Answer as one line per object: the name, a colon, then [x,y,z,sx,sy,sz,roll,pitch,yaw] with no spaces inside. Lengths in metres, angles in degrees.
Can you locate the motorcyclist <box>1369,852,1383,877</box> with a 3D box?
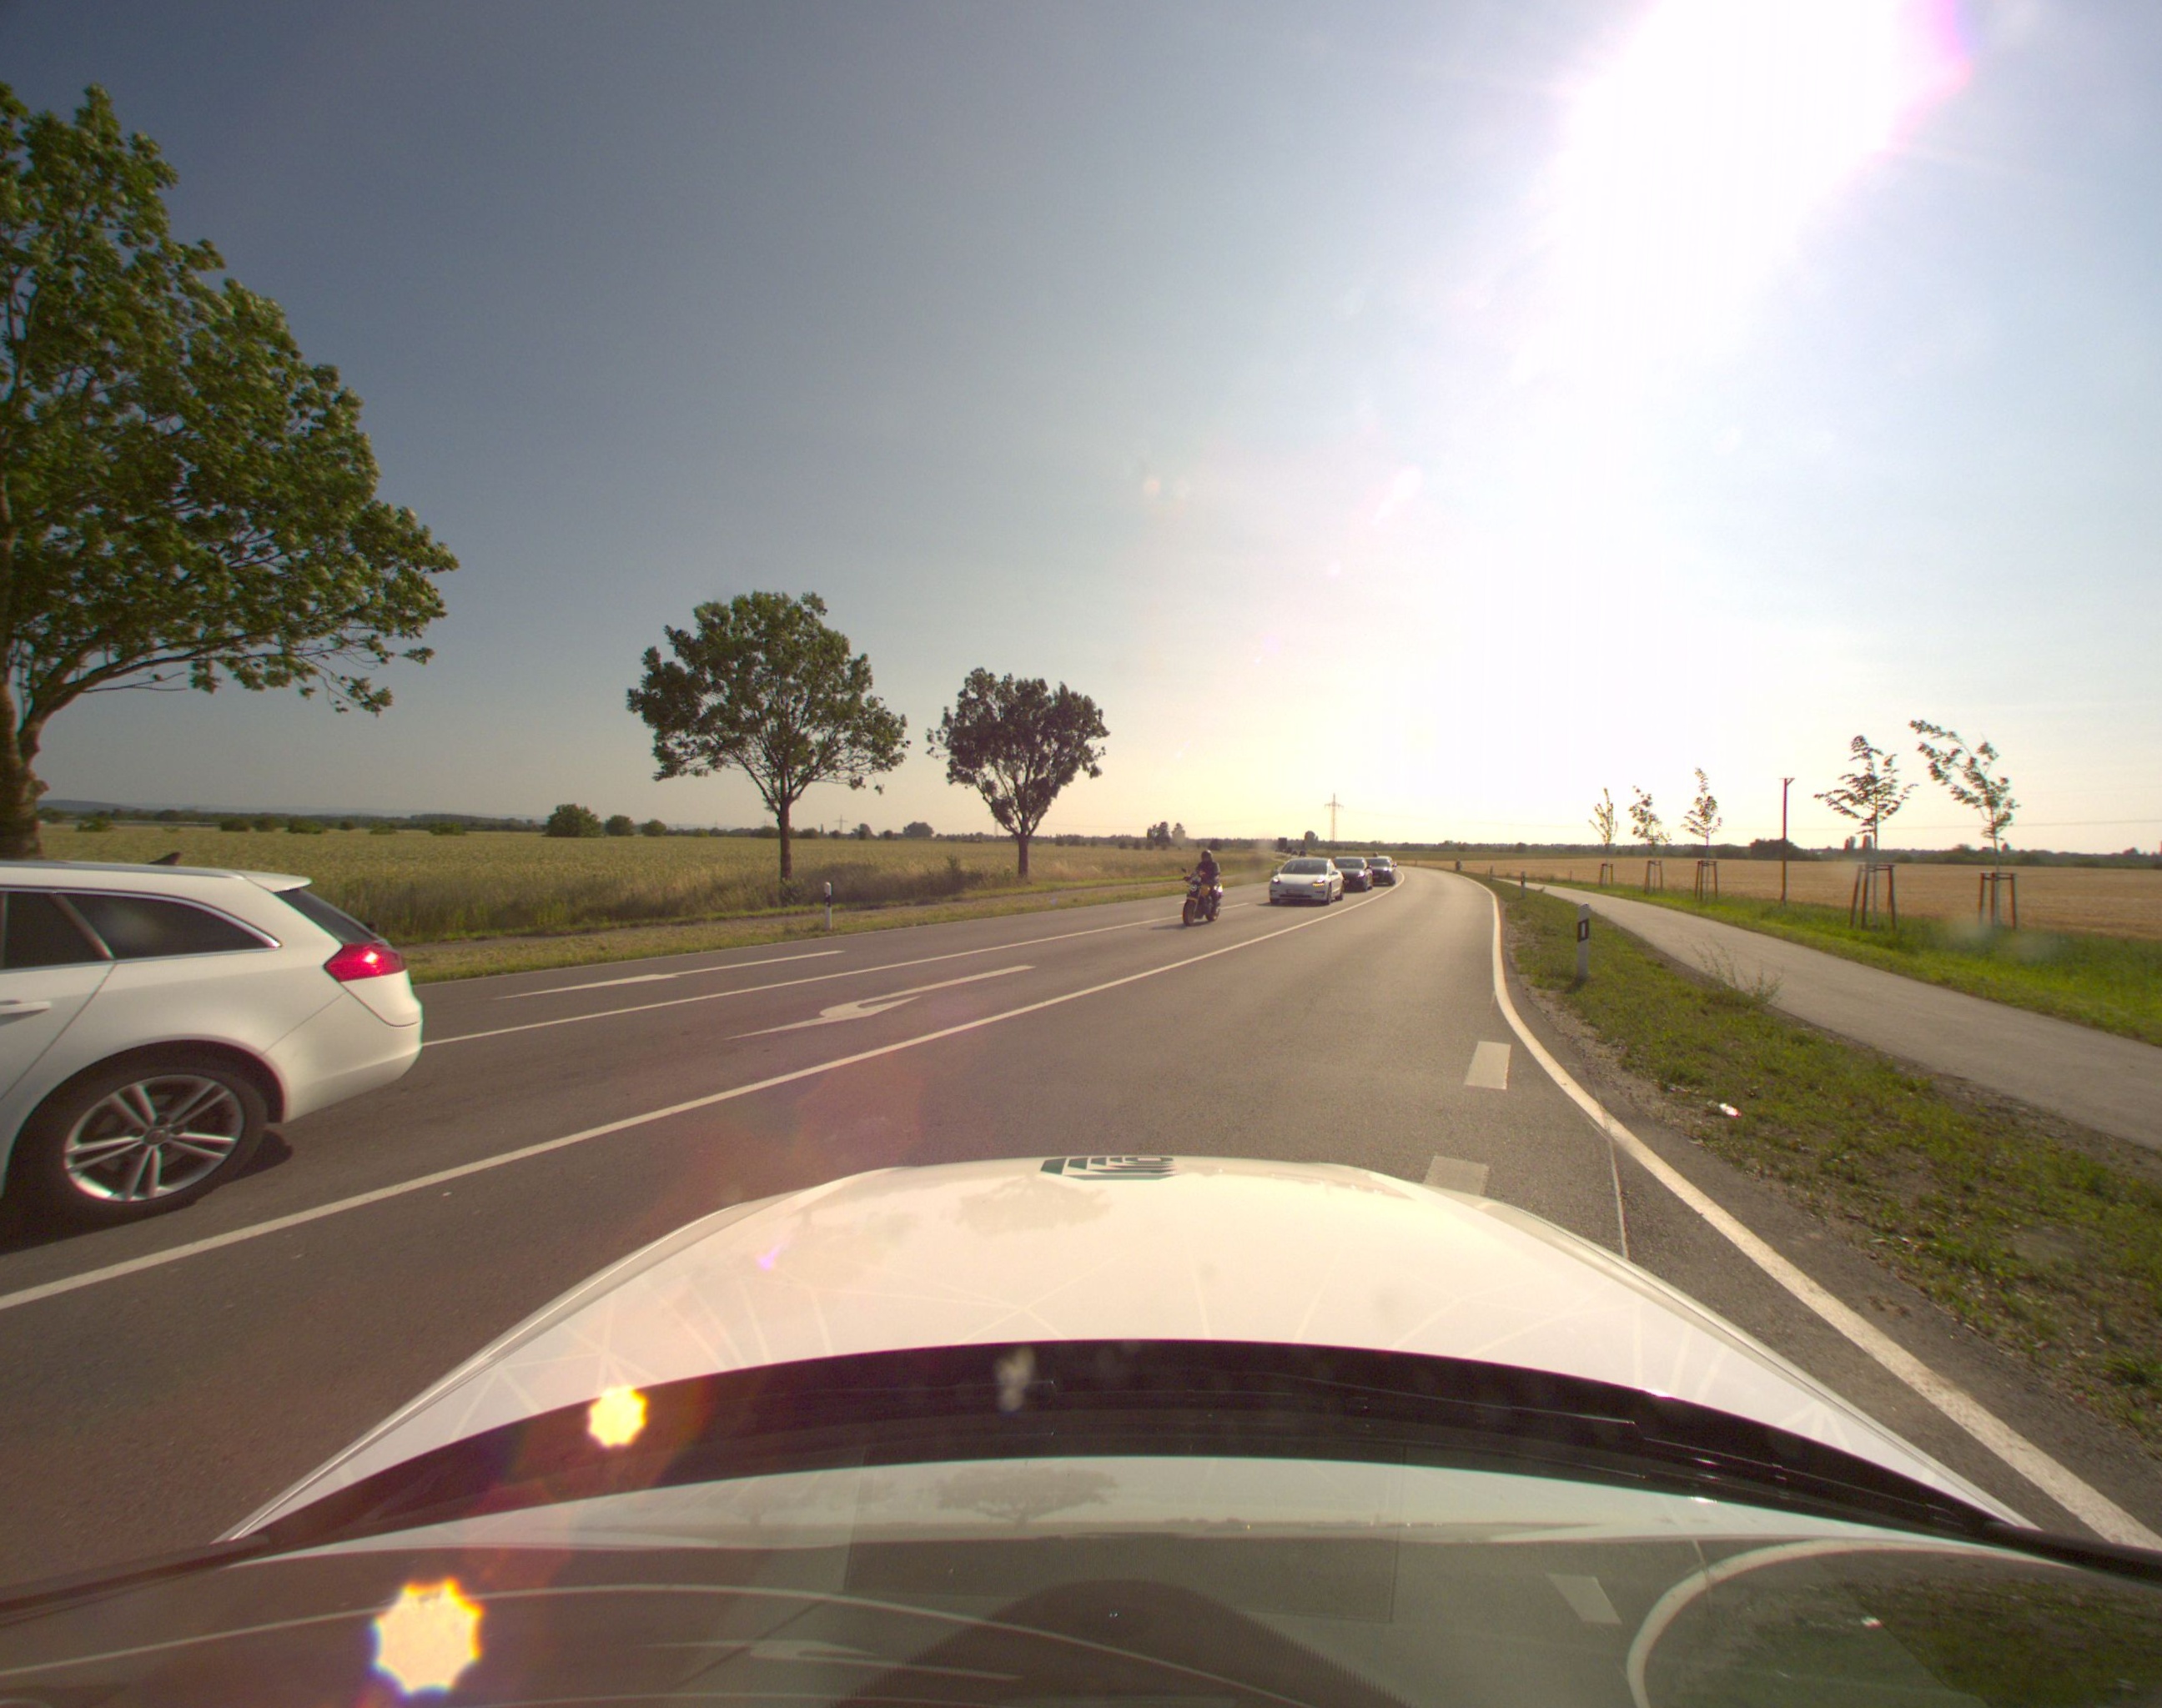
motorcyclist: [17.257,0.610,47.690,0.671,1.495,0.852,0,0,25]

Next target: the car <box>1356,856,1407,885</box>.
car: [15.664,0.819,42.288,1.872,1.436,4.825,1,0,27]

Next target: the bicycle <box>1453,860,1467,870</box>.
bicycle: [44.090,1.255,94.749,0.840,1.142,2.212,3,1,9]

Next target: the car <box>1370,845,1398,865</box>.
car: [22.017,0.088,59.163,1.671,1.403,4.022,0,0,24]

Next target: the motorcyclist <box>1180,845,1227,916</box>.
motorcyclist: [2.730,0.573,18.116,0.672,1.515,1.188,0,0,27]

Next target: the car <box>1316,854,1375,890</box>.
car: [11.489,0.733,35.213,1.873,1.461,4.331,1,0,25]

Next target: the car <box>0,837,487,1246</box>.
car: [-5.062,0.684,2.676,1.743,1.492,4.736,0,0,27]

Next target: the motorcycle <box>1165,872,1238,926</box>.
motorcycle: [2.732,0.974,18.217,0.888,1.043,2.443,0,0,27]

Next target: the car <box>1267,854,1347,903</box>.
car: [7.464,0.741,26.627,1.873,1.466,4.300,0,0,24]

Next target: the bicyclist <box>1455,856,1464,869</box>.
bicyclist: [44.117,1.021,94.878,0.634,1.457,0.819,3,0,8]

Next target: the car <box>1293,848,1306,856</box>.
car: [63.164,-0.564,235.629,1.838,1.833,4.456,4,2,-8]
